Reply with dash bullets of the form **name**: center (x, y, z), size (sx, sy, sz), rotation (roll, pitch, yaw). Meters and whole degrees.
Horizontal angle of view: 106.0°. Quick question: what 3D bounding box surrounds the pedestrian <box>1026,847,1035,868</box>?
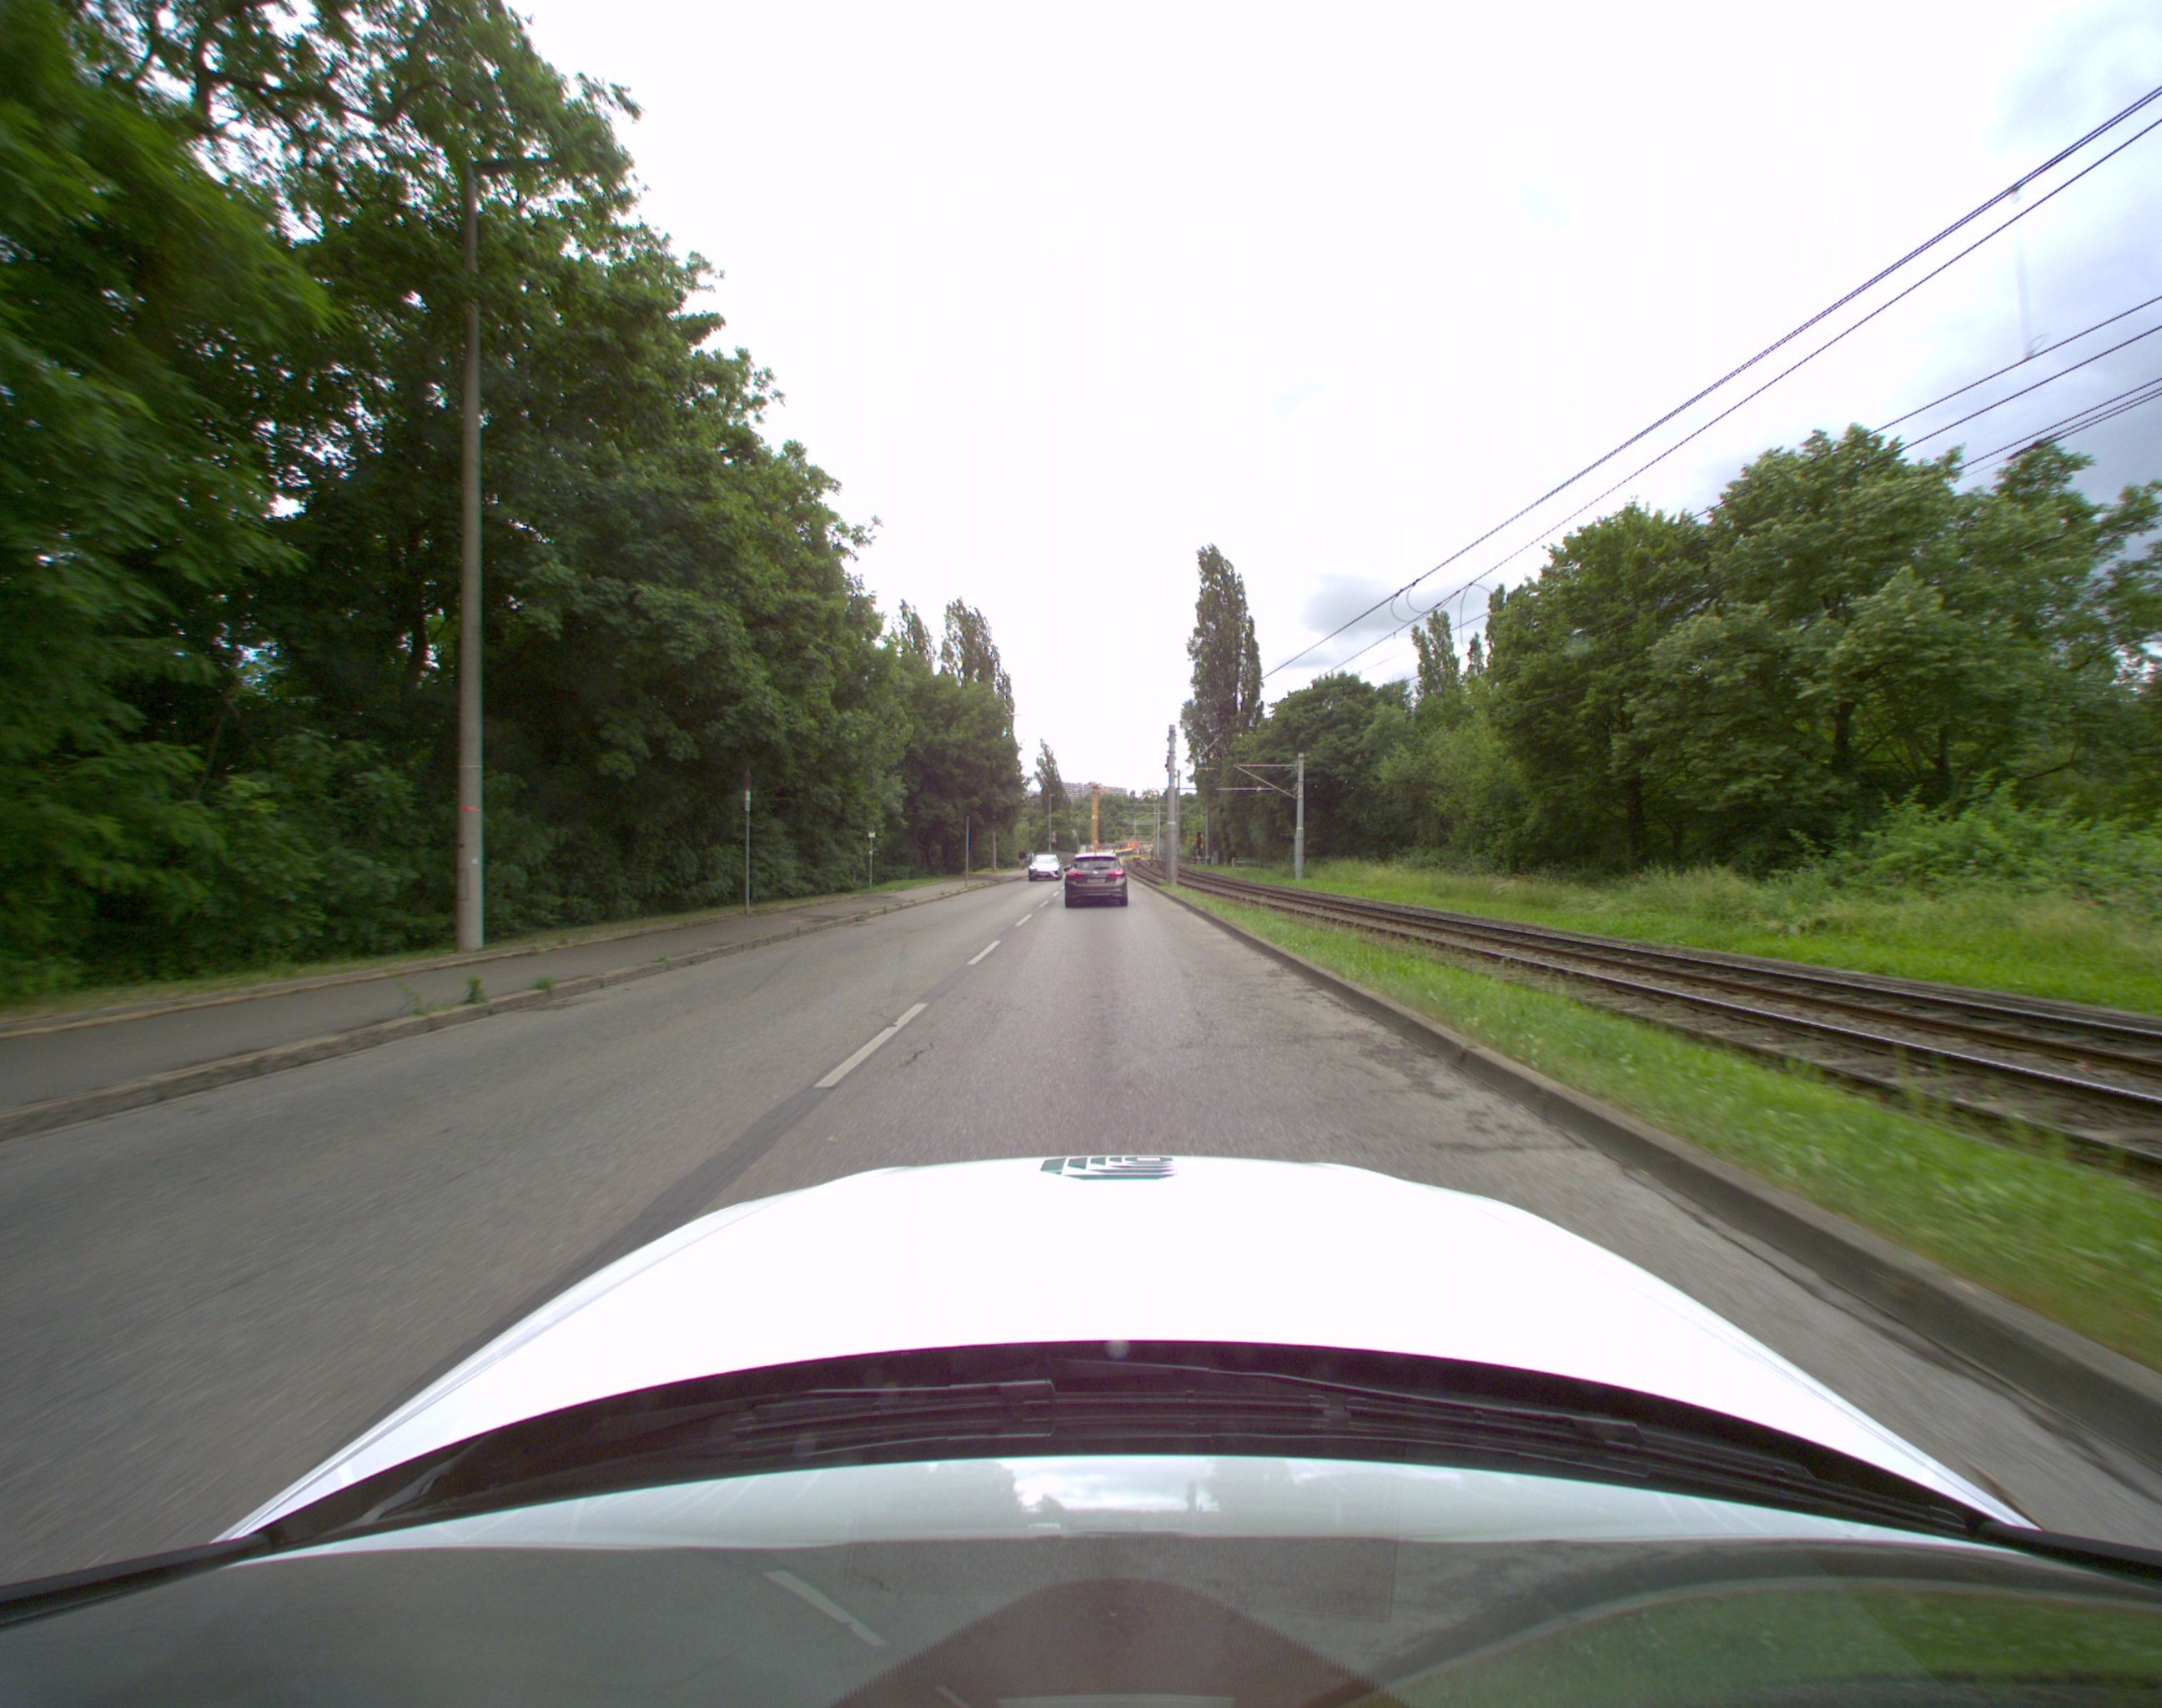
- **pedestrian**: center (-4.213, 0.292, 68.224), size (0.549, 1.765, 0.858), rotation (3, 0, 1)

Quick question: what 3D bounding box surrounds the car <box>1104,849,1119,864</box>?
- **car**: center (3.473, 0.300, 92.035), size (1.673, 1.606, 4.312), rotation (0, 0, 2)

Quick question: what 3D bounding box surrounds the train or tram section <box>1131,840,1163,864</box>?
- **train or tram section**: center (15.842, -0.319, 197.902), size (3.025, 5.183, 22.997), rotation (1, -2, -7)

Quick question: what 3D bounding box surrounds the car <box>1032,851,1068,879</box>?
- **car**: center (-1.781, 0.615, 48.234), size (1.787, 1.492, 4.182), rotation (-2, 0, 2)

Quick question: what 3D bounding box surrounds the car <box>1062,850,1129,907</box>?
- **car**: center (0.377, 0.658, 24.058), size (1.824, 1.510, 3.999), rotation (-1, 0, -1)

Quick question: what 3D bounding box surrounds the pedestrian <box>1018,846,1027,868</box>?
- **pedestrian**: center (-4.894, 0.242, 68.227), size (0.585, 1.803, 0.822), rotation (1, 0, 1)
